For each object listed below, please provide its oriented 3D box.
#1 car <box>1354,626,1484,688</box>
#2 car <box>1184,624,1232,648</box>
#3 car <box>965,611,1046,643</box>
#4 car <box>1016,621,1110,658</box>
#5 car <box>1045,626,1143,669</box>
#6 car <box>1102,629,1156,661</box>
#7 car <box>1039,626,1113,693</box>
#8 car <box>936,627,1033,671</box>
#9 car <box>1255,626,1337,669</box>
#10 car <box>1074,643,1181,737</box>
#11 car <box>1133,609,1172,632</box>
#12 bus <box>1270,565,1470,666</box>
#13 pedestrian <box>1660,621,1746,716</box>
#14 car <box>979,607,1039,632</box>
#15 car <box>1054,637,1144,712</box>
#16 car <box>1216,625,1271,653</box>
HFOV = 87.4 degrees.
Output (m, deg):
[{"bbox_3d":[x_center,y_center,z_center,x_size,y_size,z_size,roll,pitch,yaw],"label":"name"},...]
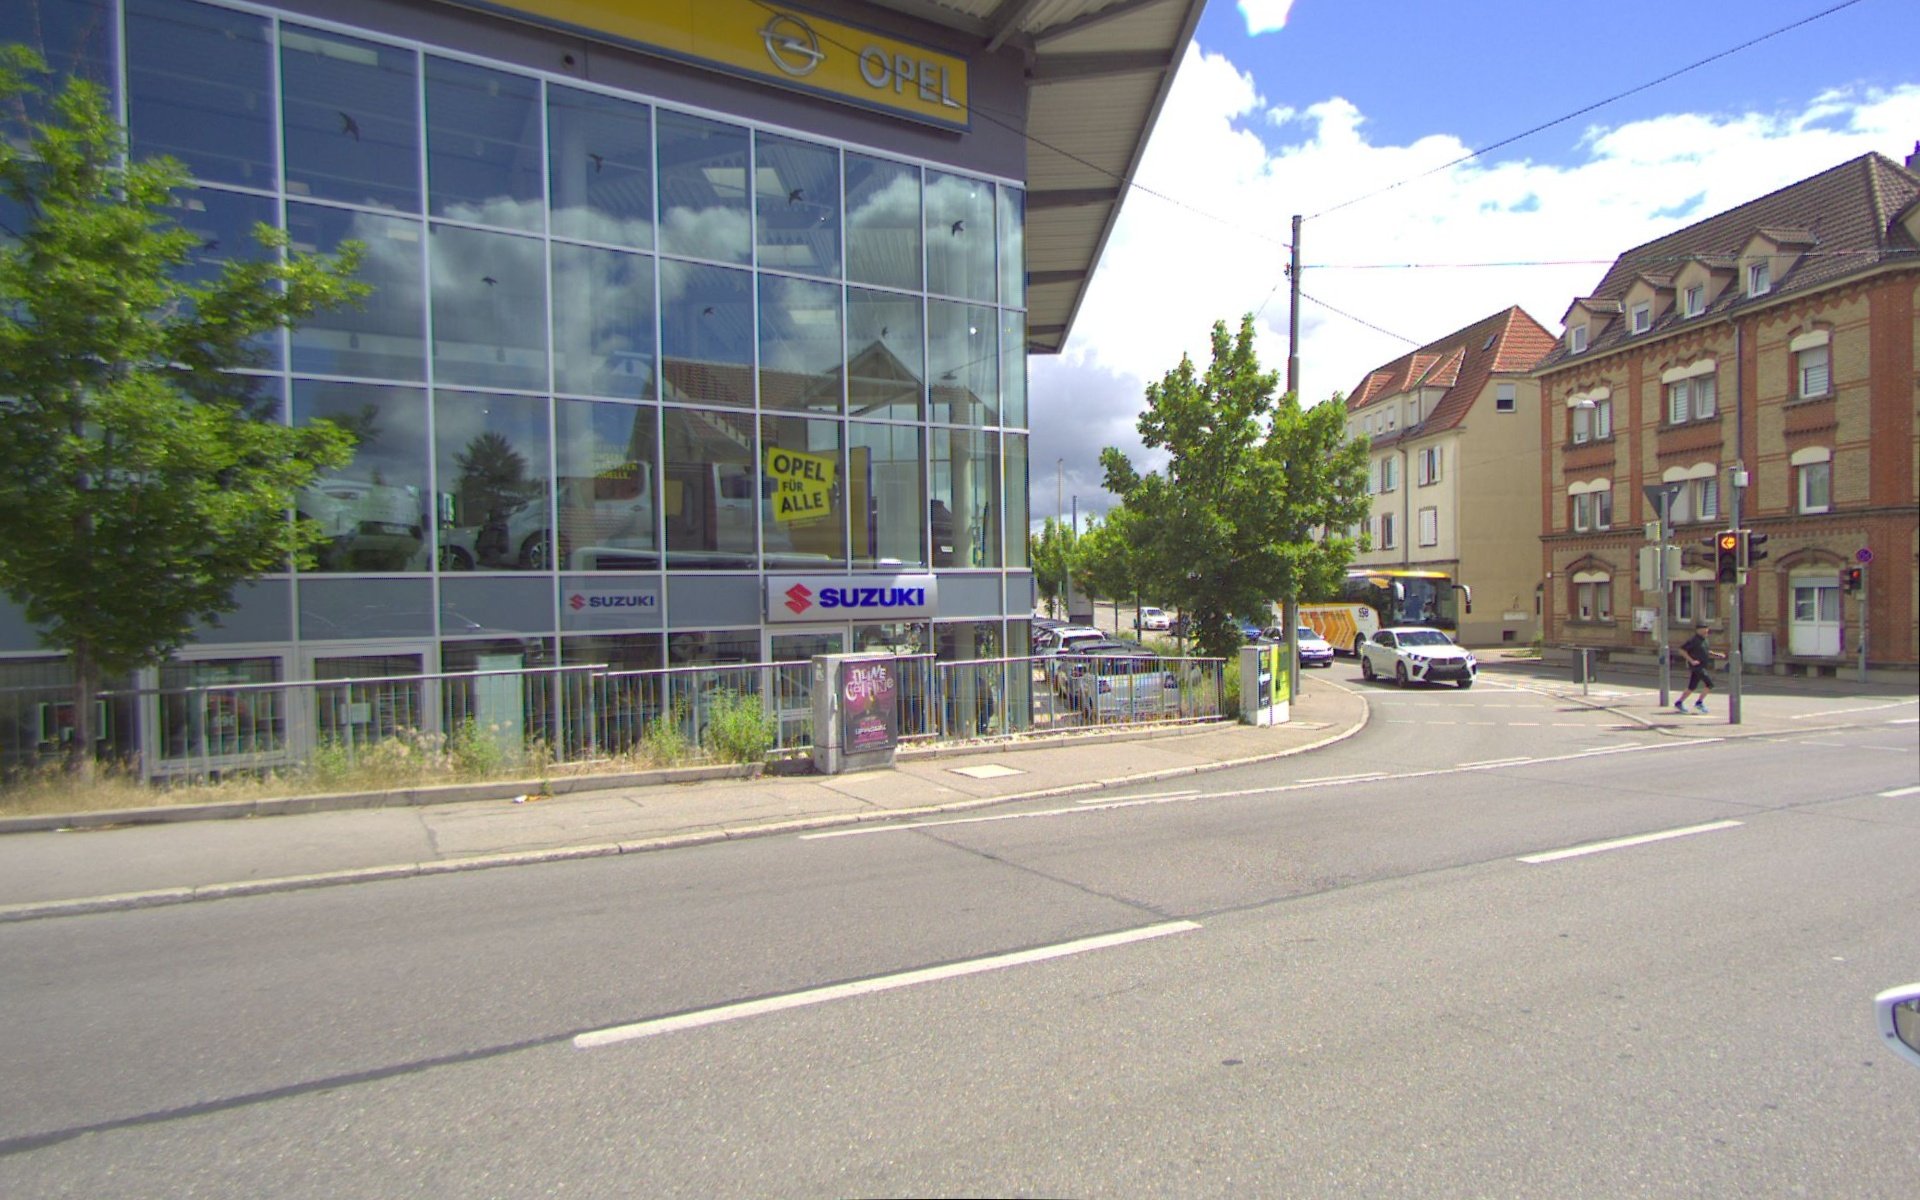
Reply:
[{"bbox_3d":[12.793,1.539,28.314,1.797,1.572,4.307,1,-1,1],"label":"car"},{"bbox_3d":[15.558,2.232,63.285,1.874,1.428,3.999,1,-1,-2],"label":"car"},{"bbox_3d":[2.359,1.412,52.789,3.930,1.574,1.804,1,-1,-12],"label":"car"},{"bbox_3d":[4.599,1.767,45.160,3.925,1.574,1.806,1,-1,-7],"label":"car"},{"bbox_3d":[4.957,1.760,37.407,3.430,1.497,1.800,1,-1,1],"label":"car"},{"bbox_3d":[8.166,2.149,48.795,1.766,1.467,3.498,1,-1,-5],"label":"car"},{"bbox_3d":[3.307,1.671,29.121,1.620,1.703,3.499,-1,0,-2],"label":"car"},{"bbox_3d":[0.861,1.785,36.952,3.432,1.467,1.799,-1,0,-3],"label":"car"},{"bbox_3d":[12.291,1.729,36.937,1.847,1.437,3.622,-2,-2,2],"label":"car"},{"bbox_3d":[3.304,1.744,20.350,1.648,1.582,3.365,-1,0,1],"label":"car"},{"bbox_3d":[13.630,1.438,71.430,1.874,1.574,3.999,1,-1,-2],"label":"car"},{"bbox_3d":[16.875,0.653,42.825,2.718,3.670,12.257,1,-1,-4],"label":"bus"},{"bbox_3d":[14.234,1.288,19.257,0.751,1.757,1.133,1,-1,-34],"label":"pedestrian"},{"bbox_3d":[3.253,1.308,67.516,3.922,1.574,1.807,1,-1,-1],"label":"car"},{"bbox_3d":[3.324,1.750,24.548,1.584,1.547,3.499,-1,0,-2],"label":"car"},{"bbox_3d":[15.658,2.124,55.636,1.717,1.428,3.999,1,-1,-3],"label":"car"}]
